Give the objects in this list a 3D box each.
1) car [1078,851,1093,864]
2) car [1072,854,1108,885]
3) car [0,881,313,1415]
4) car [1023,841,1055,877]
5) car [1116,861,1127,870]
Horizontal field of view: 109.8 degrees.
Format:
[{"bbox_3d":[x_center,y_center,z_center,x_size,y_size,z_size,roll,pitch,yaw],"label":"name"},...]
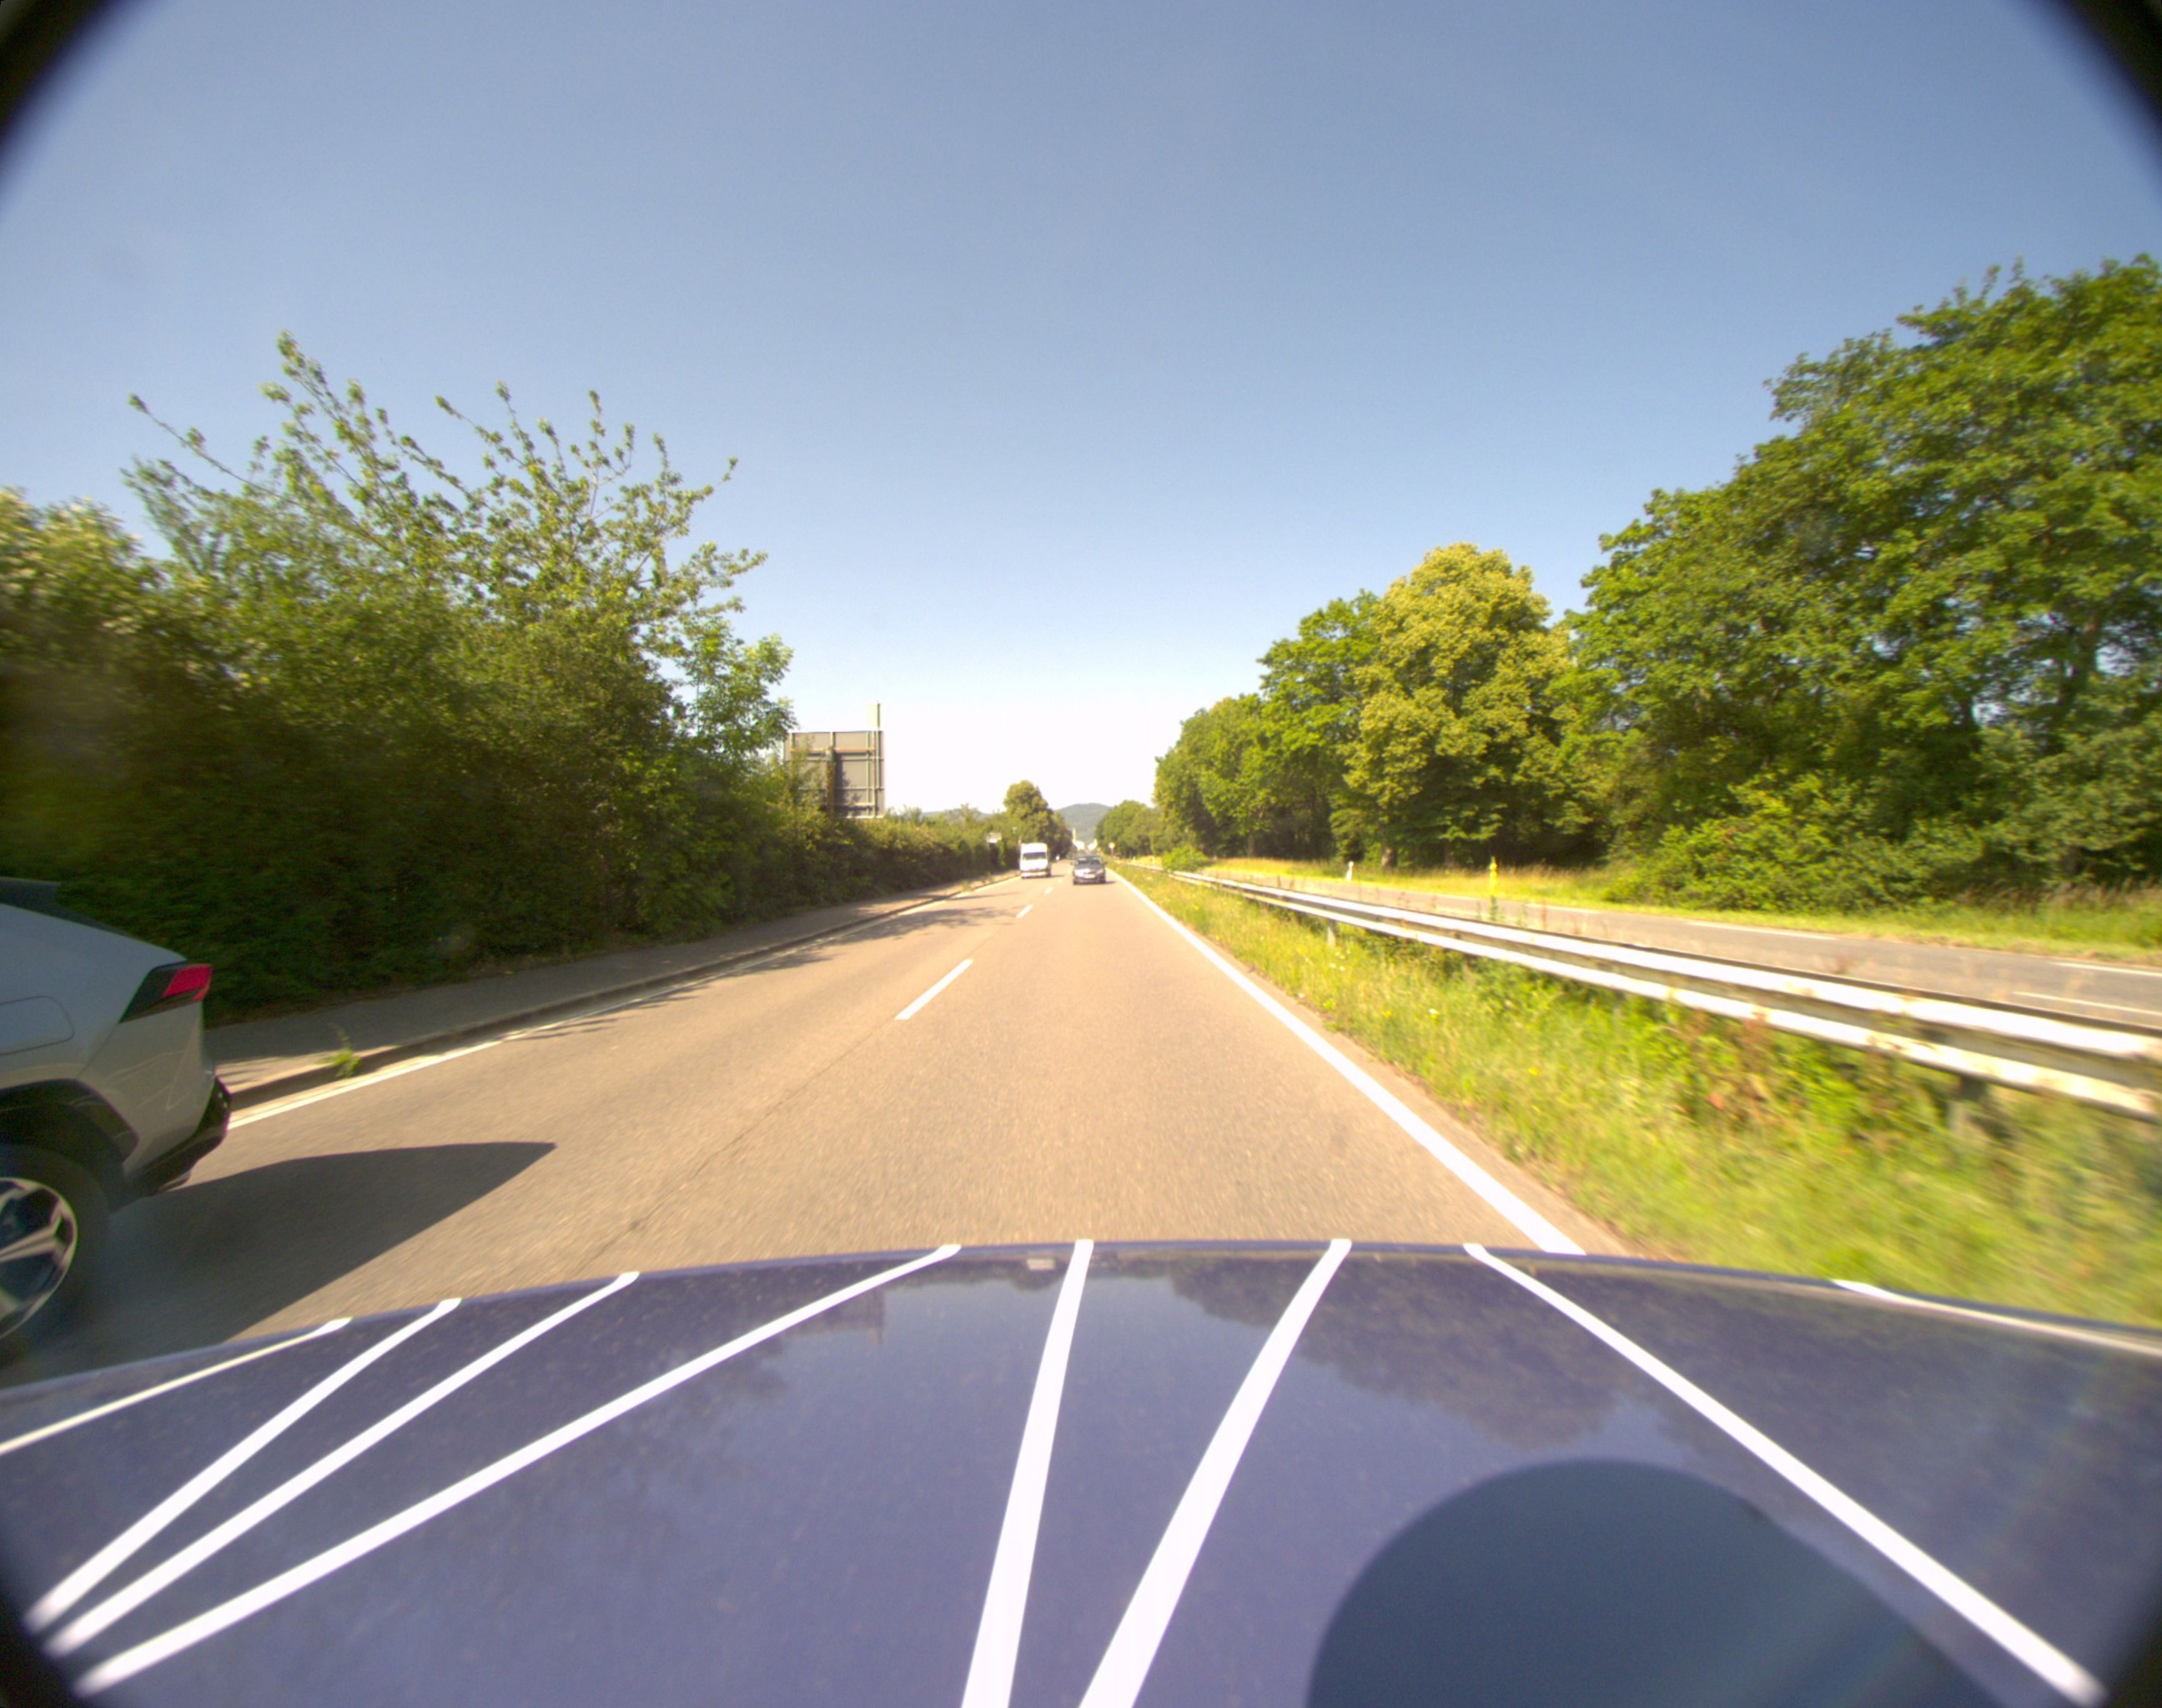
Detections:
[{"bbox_3d":[0.544,0.344,86.783,1.678,1.435,3.622,-1,0,0],"label":"car"},{"bbox_3d":[0.463,0.735,38.506,1.678,1.435,4.361,-1,0,0],"label":"car"},{"bbox_3d":[-4.482,0.999,1.057,1.906,1.670,4.683,-2,0,2],"label":"car"},{"bbox_3d":[-3.022,0.347,55.371,1.998,2.432,5.088,-1,0,0],"label":"car"},{"bbox_3d":[7.426,2.083,139.450,1.783,1.521,4.160,1,0,-2],"label":"car"}]
